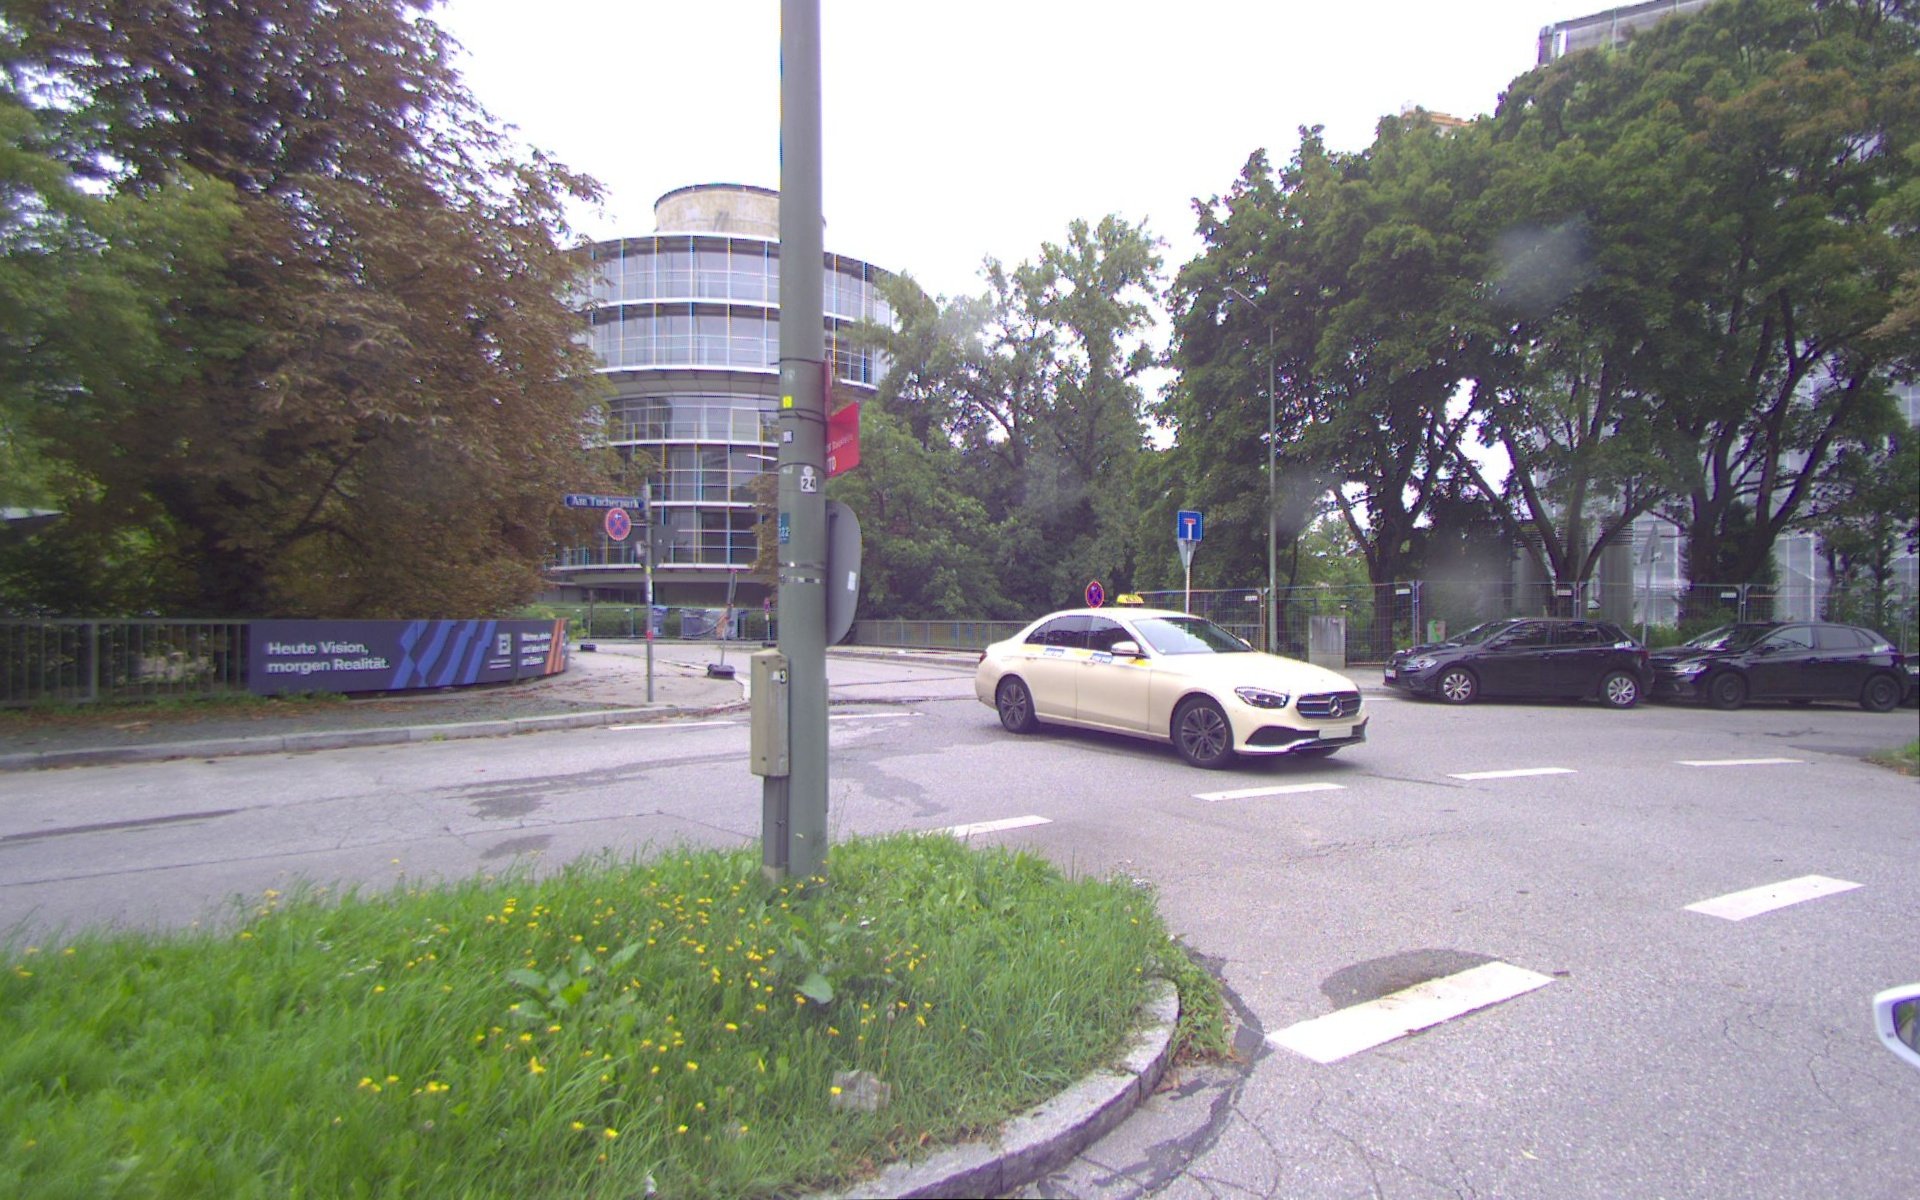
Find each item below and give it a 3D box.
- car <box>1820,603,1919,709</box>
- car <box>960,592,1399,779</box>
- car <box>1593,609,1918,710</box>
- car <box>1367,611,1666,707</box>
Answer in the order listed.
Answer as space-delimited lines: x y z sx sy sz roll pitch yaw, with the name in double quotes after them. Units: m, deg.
17.677 0.969 17.340 3.920 1.728 2.001 1 -1 2 "car"
2.062 0.752 10.964 1.873 1.566 4.811 1 -1 -32 "car"
13.340 0.968 17.067 3.920 1.561 2.001 1 -1 2 "car"
9.321 0.946 17.109 3.961 1.452 2.000 1 1 3 "car"
